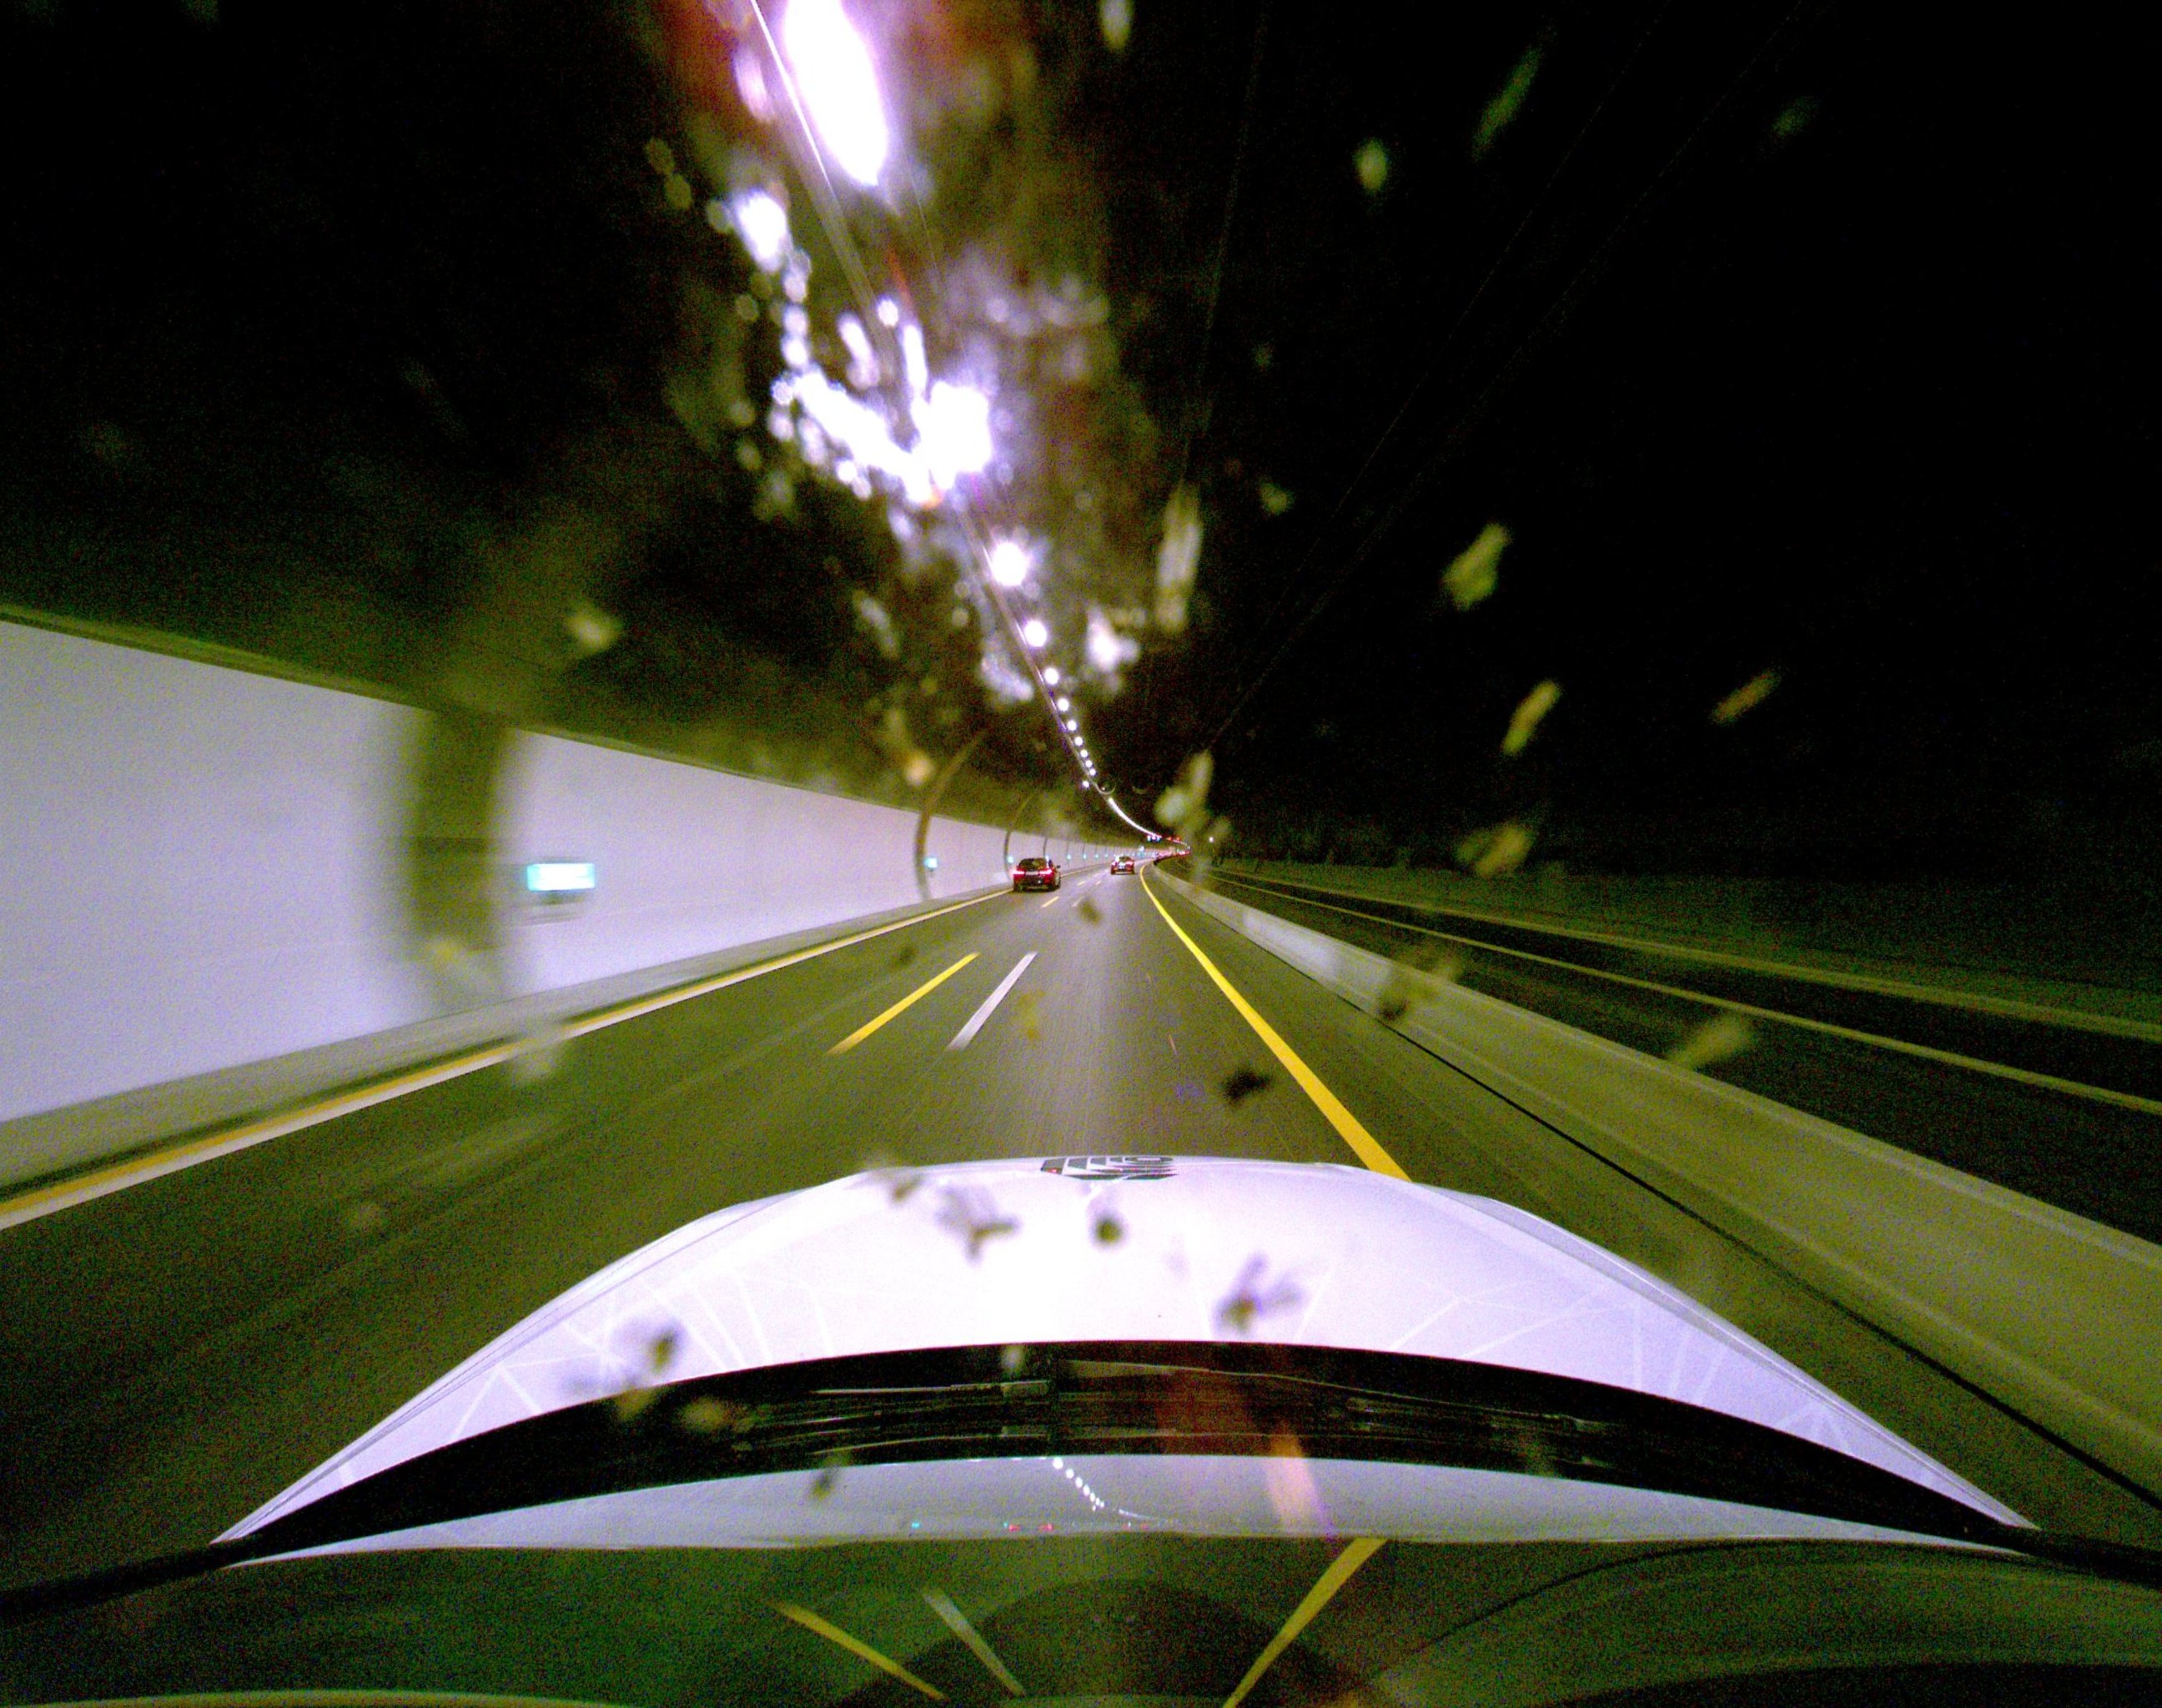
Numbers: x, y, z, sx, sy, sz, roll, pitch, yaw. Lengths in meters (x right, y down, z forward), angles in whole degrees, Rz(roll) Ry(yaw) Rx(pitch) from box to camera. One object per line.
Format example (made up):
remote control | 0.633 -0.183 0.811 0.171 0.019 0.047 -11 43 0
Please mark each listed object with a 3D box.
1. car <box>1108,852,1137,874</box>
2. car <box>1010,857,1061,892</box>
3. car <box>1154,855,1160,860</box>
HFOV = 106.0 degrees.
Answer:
car | 3.375 0.736 65.635 2.130 1.706 4.006 -1 0 5
car | -1.986 0.869 36.919 1.770 1.438 4.886 0 0 3
car | 20.807 0.825 222.474 1.586 1.333 3.758 -1 0 7
